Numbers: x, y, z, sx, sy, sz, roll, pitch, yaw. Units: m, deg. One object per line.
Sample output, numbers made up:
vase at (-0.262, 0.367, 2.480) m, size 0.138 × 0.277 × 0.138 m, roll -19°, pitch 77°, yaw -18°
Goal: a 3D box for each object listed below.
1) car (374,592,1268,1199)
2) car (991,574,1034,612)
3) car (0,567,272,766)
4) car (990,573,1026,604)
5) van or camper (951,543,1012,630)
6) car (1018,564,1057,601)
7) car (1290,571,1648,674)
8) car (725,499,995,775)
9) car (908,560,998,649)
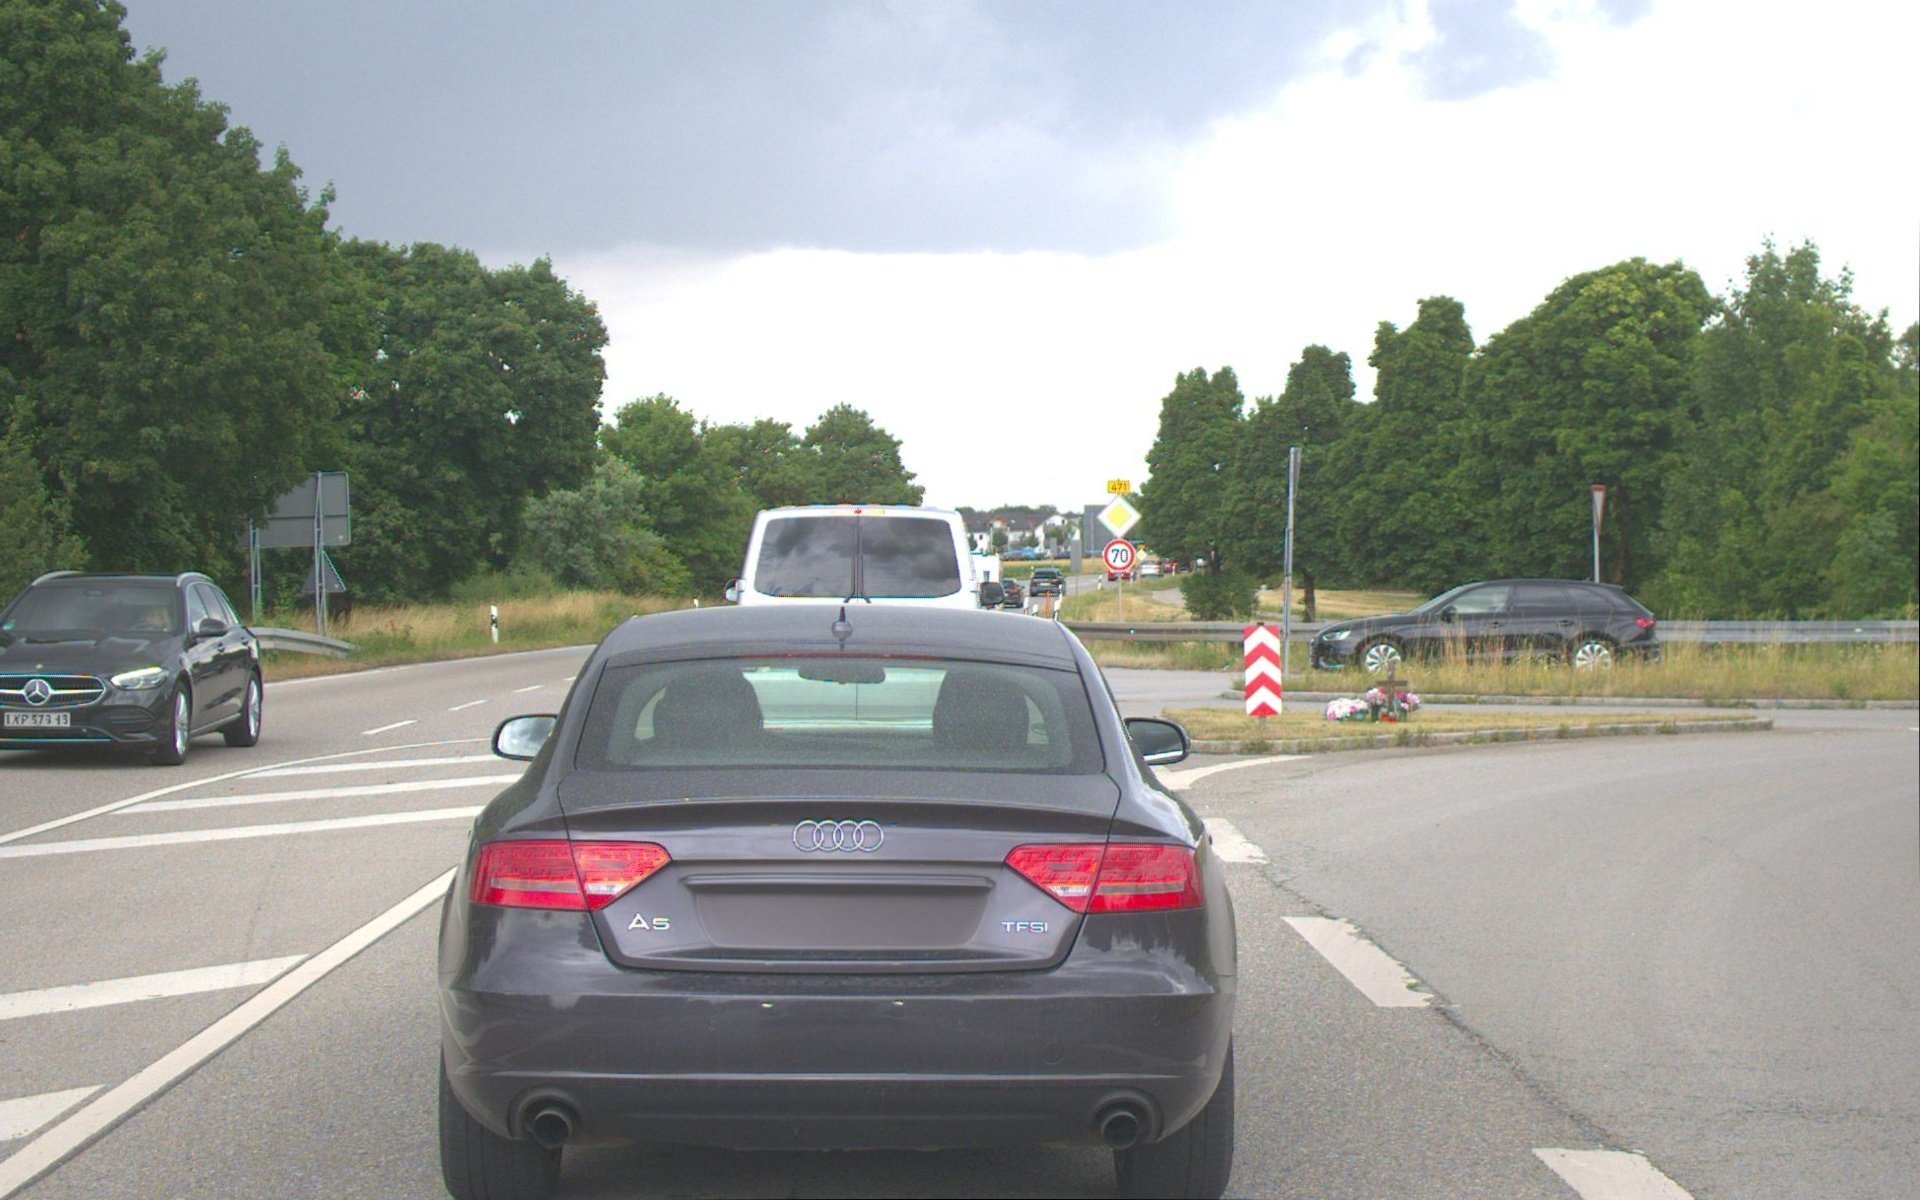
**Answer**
car at (-0.302, 0.699, 8.917) m, size 1.783 × 1.372 × 4.000 m, roll 1°, pitch 1°, yaw -1°
car at (1.912, -0.251, 124.203) m, size 1.258 × 1.349 × 3.465 m, roll 0°, pitch 0°, yaw 5°
car at (-6.650, 0.464, 27.150) m, size 1.671 × 1.424 × 4.258 m, roll 0°, pitch 1°, yaw -1°
car at (2.336, -0.576, 168.341) m, size 1.719 × 1.446 × 4.000 m, roll 1°, pitch 0°, yaw 1°
van or camper at (0.907, -0.565, 139.656) m, size 2.340 × 3.469 × 5.718 m, roll 0°, pitch 0°, yaw 2°
car at (4.410, -1.015, 196.275) m, size 1.993 × 2.007 × 4.000 m, roll -2°, pitch 1°, yaw -1°
car at (6.864, 0.293, 46.681) m, size 4.596 × 1.369 × 1.826 m, roll 0°, pitch 0°, yaw 1°
car at (-0.713, 0.229, 25.714) m, size 1.838 × 1.876 × 4.000 m, roll 1°, pitch 1°, yaw -1°
car at (-0.135, 0.097, 82.973) m, size 1.994 × 2.081 × 4.000 m, roll 0°, pitch 0°, yaw 2°
